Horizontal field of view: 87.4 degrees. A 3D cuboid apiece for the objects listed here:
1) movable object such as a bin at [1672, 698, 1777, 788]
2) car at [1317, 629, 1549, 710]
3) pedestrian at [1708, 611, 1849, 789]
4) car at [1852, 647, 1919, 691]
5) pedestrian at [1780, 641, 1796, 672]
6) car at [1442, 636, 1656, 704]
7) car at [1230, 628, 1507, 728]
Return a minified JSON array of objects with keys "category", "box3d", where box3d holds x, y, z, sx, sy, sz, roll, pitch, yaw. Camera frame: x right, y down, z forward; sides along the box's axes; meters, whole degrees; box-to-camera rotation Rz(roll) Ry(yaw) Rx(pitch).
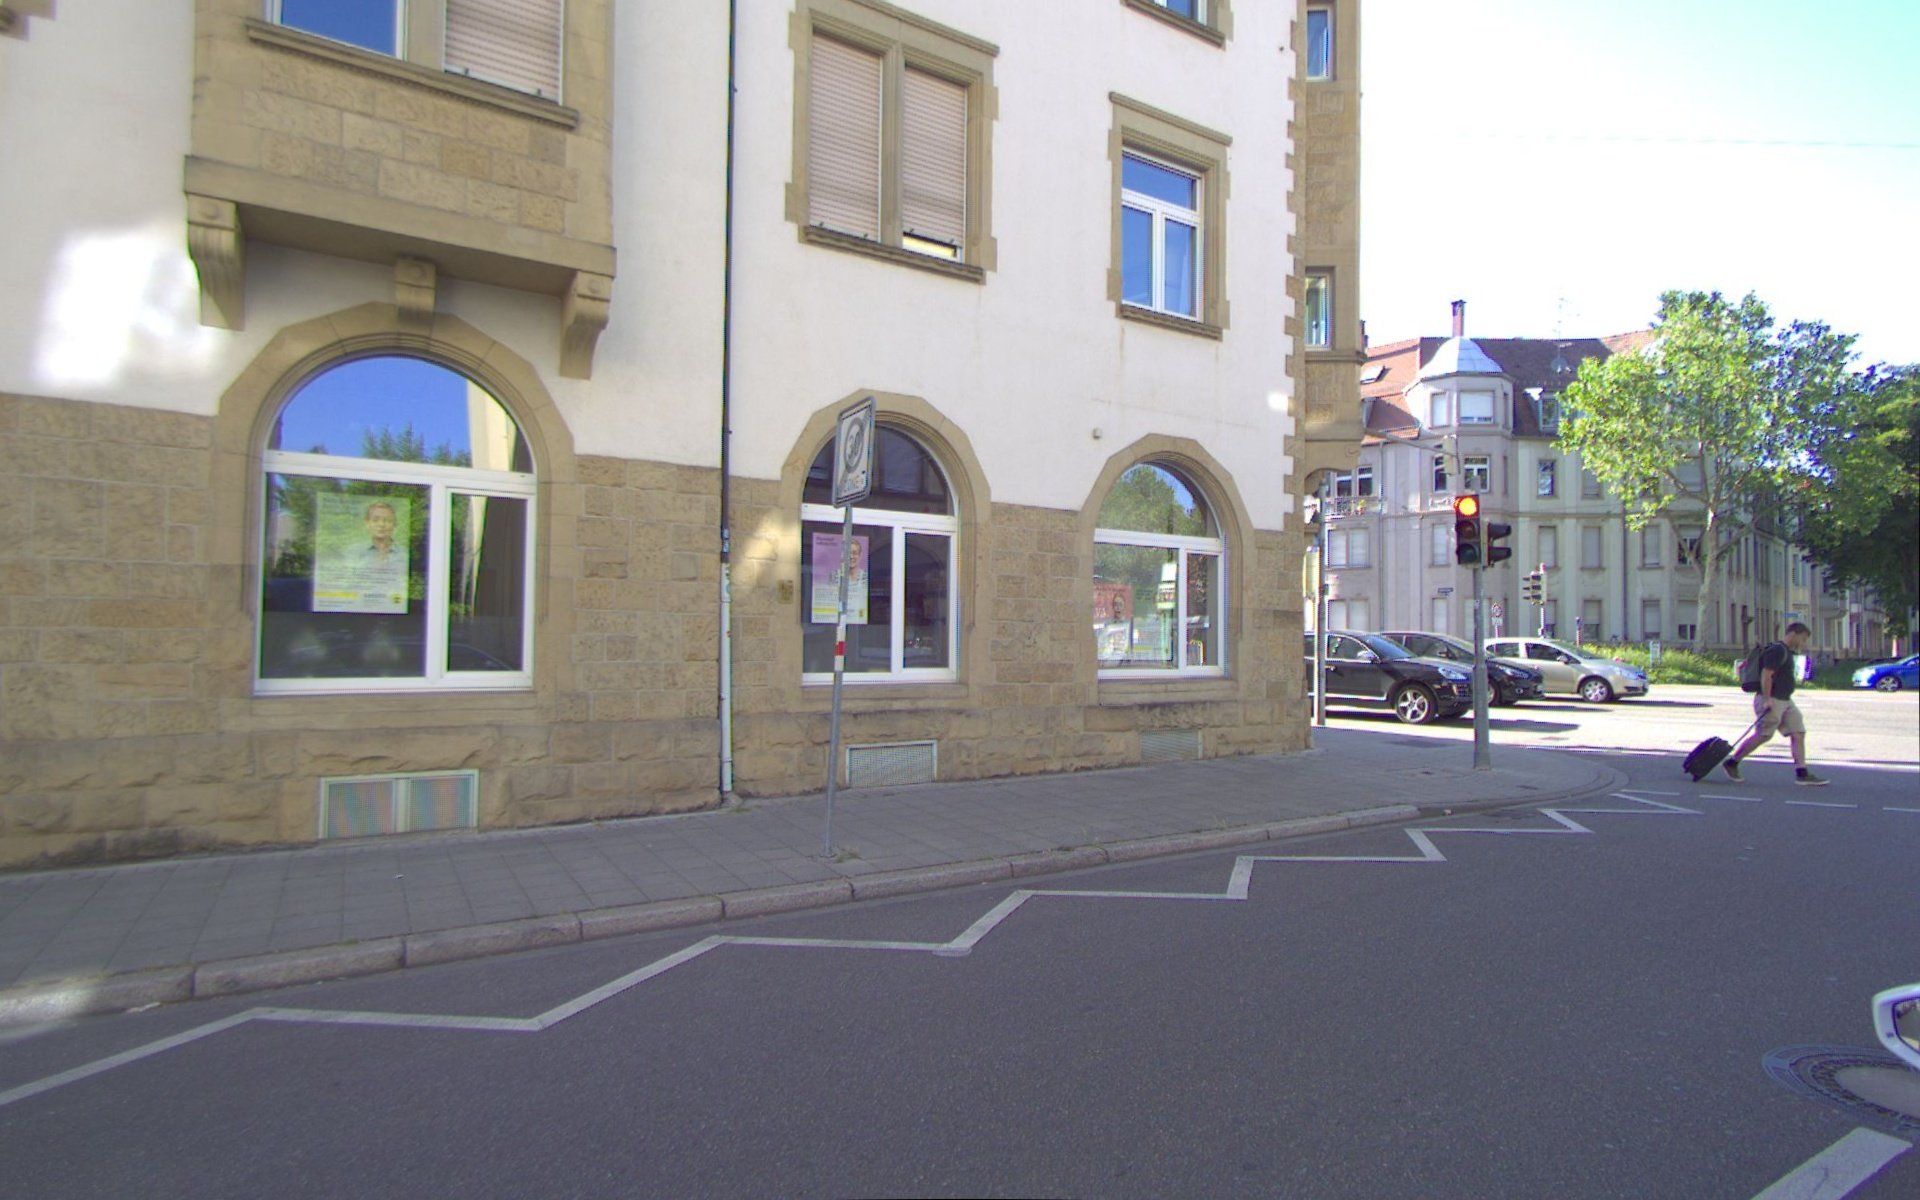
[{"category":"movable object such as a bin","box3d":[8.560,1.581,11.259,0.506,0.904,0.854,2,-3,-42]},{"category":"car","box3d":[10.883,1.529,23.366,1.719,1.686,4.614,2,-2,-45]},{"category":"pedestrian","box3d":[9.123,1.083,11.210,0.743,1.872,1.056,2,-3,-42]},{"category":"car","box3d":[32.413,2.310,33.623,3.736,1.419,1.639,-1,-2,40]},{"category":"pedestrian","box3d":[40.160,2.751,48.716,0.482,1.461,0.703,2,0,35]},{"category":"car","box3d":[14.121,1.621,24.241,1.667,1.476,4.159,1,-2,-45]},{"category":"car","box3d":[7.937,1.424,19.826,2.066,1.716,4.646,2,-2,-45]}]
